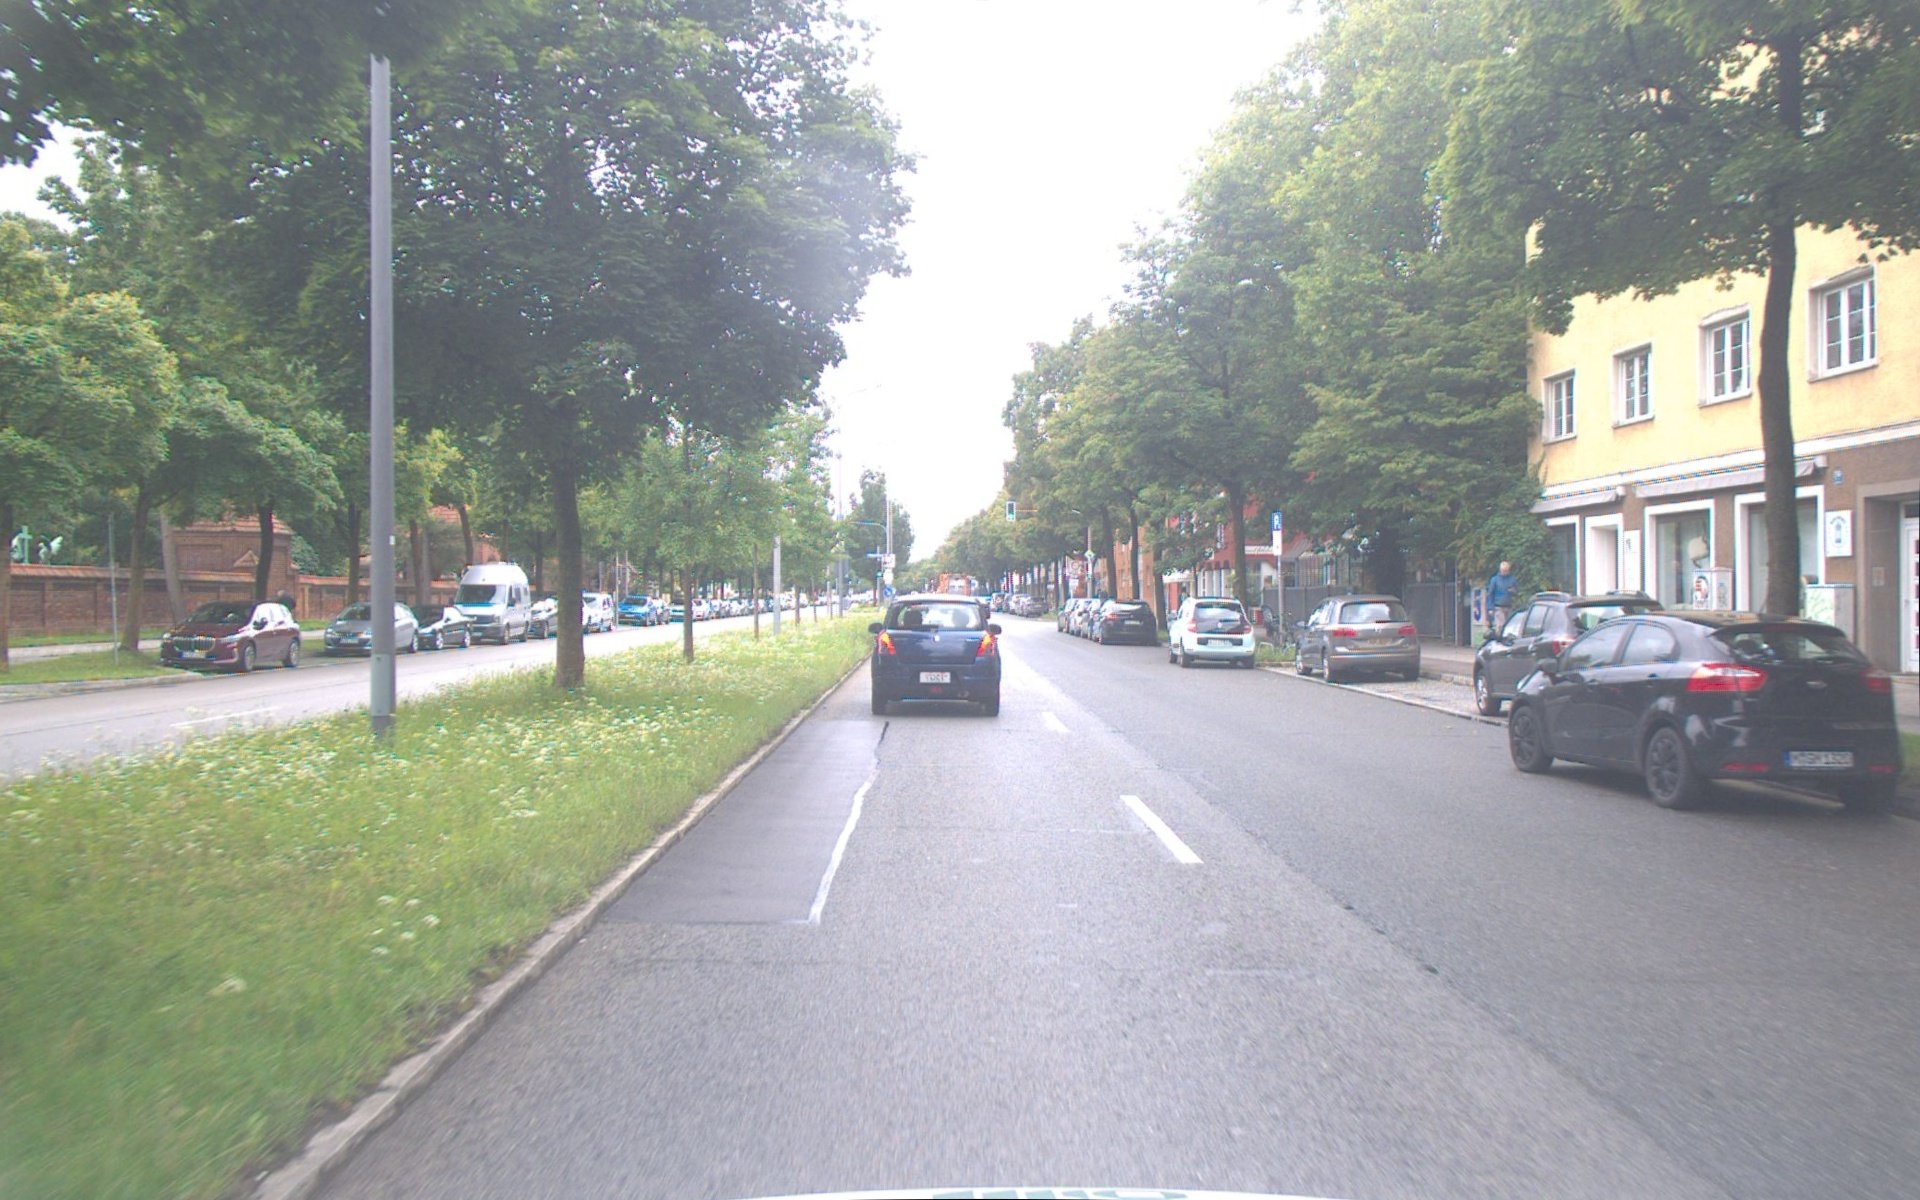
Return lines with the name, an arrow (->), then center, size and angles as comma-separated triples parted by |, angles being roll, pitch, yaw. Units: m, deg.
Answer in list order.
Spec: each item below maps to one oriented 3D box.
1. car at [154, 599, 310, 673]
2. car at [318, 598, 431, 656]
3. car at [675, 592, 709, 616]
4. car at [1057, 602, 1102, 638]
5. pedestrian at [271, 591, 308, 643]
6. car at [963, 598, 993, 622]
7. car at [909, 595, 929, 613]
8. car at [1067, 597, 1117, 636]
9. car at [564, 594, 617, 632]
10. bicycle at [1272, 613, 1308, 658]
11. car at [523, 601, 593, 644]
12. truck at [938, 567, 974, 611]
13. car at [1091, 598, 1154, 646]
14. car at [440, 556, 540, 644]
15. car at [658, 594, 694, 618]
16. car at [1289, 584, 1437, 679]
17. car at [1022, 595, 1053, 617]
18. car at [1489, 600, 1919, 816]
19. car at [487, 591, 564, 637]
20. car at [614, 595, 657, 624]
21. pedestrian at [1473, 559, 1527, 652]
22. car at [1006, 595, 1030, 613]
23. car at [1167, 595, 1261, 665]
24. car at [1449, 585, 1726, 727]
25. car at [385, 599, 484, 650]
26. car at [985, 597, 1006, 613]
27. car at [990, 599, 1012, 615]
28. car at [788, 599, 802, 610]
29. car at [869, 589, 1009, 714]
car -> -16.576, 0.784, 37.918 | 1.777, 1.563, 4.296 | 1, 0, -2
car -> -16.789, 0.732, 47.625 | 1.777, 1.563, 4.439 | 1, 0, -2
car -> -18.300, 0.268, 112.974 | 1.765, 1.561, 3.999 | 0, 0, -1
car -> 5.034, 0.834, 70.289 | 1.660, 1.477, 4.123 | 0, 0, 1
pedestrian -> -20.659, 0.510, 50.984 | 0.761, 1.594, 0.792 | 0, 0, 35
car -> 1.204, 0.672, 111.423 | 1.784, 1.503, 4.689 | 2, 0, -1
car -> -3.551, 0.313, 143.743 | 1.684, 1.527, 4.299 | 1, 0, -1
car -> 5.144, 0.613, 64.916 | 1.660, 1.477, 4.123 | 0, 0, 1
car -> -17.360, 0.584, 77.842 | 1.672, 1.764, 3.999 | 0, 0, -1
bicycle -> 7.632, 0.807, 38.287 | 0.439, 0.997, 1.798 | 0, 0, -1
car -> -17.353, 0.942, 71.637 | 2.142, 1.766, 4.575 | 1, 0, -4
truck -> -0.327, -0.916, 144.577 | 2.979, 3.619, 13.673 | 0, 0, 0
car -> 5.299, 0.687, 54.357 | 1.619, 1.477, 4.708 | -1, 0, 0
car -> -16.962, 0.008, 60.006 | 2.142, 3.005, 6.187 | 1, 0, -4
car -> -18.654, 0.376, 108.728 | 1.765, 1.561, 3.999 | 0, 0, -1
car -> 7.678, 0.556, 31.919 | 1.778, 1.654, 4.307 | -1, 0, 0
car -> 5.644, 0.451, 120.880 | 1.953, 1.557, 3.999 | 0, 0, -1
car -> 6.068, 0.750, 13.552 | 1.954, 1.477, 3.996 | 0, 0, -4
car -> -17.525, 0.538, 66.935 | 2.142, 1.766, 4.575 | 1, 0, -4
car -> -17.995, 0.522, 91.771 | 1.672, 1.561, 3.999 | 0, 0, -1
pedestrian -> 11.238, 0.118, 34.439 | 0.776, 1.888, 0.776 | -2, 0, -4
car -> 5.208, 0.331, 149.590 | 1.953, 1.557, 3.999 | 0, 0, -1
car -> 5.777, 0.648, 38.019 | 1.619, 1.477, 4.001 | -1, 0, 1
car -> 8.049, 0.648, 21.686 | 1.953, 1.671, 4.332 | 0, 0, -1
car -> -16.923, 0.753, 53.476 | 1.777, 1.563, 4.818 | 1, 0, -2
car -> 3.559, 0.471, 166.741 | 1.953, 1.557, 3.999 | 1, 0, -1
car -> 4.019, 0.649, 161.935 | 1.953, 1.557, 3.999 | 0, 0, -1
car -> -23.888, 0.703, 239.630 | 1.765, 1.561, 3.999 | 0, 0, -1
car -> -0.267, 0.626, 22.295 | 1.717, 1.531, 4.000 | 0, 0, 0
